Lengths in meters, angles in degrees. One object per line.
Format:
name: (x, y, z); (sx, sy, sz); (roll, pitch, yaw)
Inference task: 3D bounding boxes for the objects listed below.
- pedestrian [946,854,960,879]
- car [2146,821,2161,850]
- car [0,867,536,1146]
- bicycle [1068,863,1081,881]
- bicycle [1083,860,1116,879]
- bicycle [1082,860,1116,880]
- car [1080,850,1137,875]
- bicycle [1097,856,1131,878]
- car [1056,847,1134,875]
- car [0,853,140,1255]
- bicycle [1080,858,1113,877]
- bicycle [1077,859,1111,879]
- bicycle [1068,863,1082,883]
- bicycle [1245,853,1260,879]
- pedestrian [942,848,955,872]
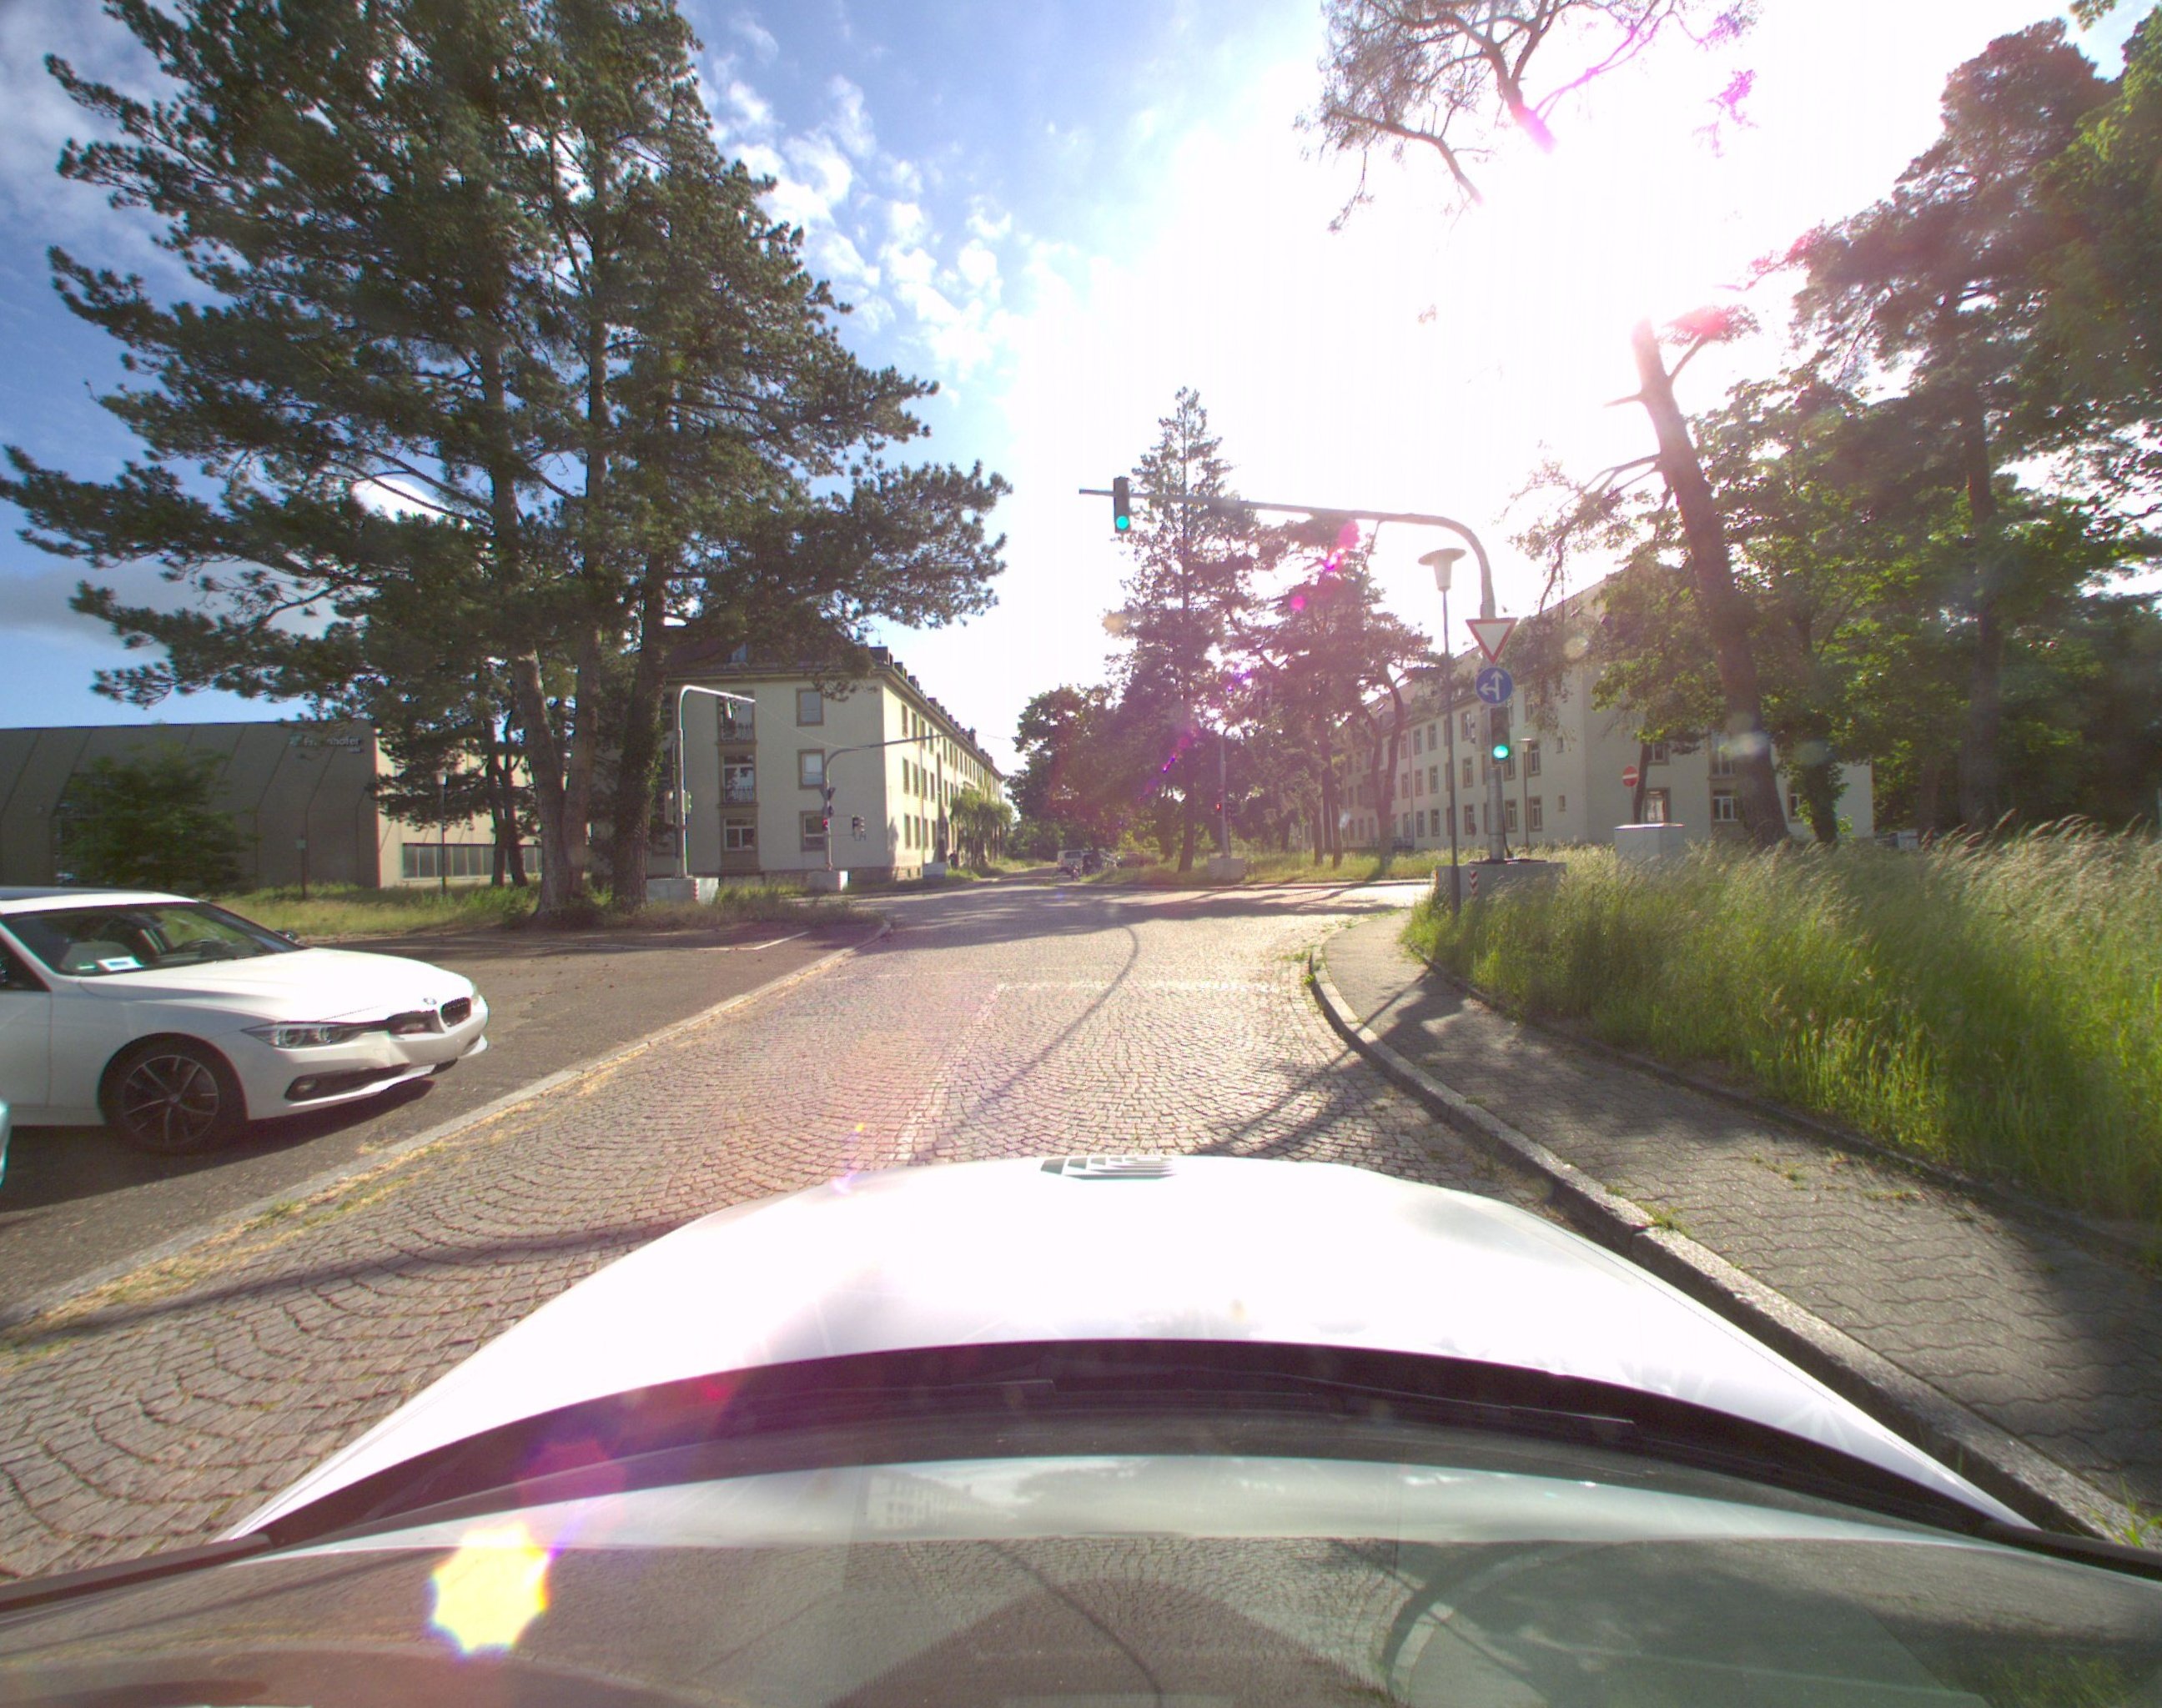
pedestrian: (-9.391, 0.897, 59.876); (0.806, 1.817, 0.556); (-2, 0, 10)
car: (57.197, -1.021, 41.369); (3.978, 1.464, 1.845); (-2, 0, -4)
car: (-6.468, 0.857, 5.316); (4.530, 1.467, 1.751); (1, 0, -3)
bicycle: (-0.373, 1.005, 45.605); (0.693, 0.971, 1.859); (-1, 0, -2)
bicycle: (1.052, 0.876, 47.159); (1.850, 1.031, 0.749); (-2, 0, -3)
bicycle: (1.043, 0.922, 47.956); (1.936, 1.129, 0.749); (-2, 0, -3)
car: (2.032, 0.622, 60.938); (3.984, 1.684, 1.842); (-2, 0, -8)
bicycle: (1.963, 0.784, 48.666); (1.936, 1.235, 0.485); (-2, 0, -3)
car: (1.101, 0.540, 65.210); (5.925, 2.013, 2.469); (-2, 0, -7)
car: (-6.312, 0.783, 2.771); (3.936, 1.626, 1.719); (1, 0, -5)
bicycle: (0.942, 0.840, 50.261); (1.938, 1.129, 0.646); (-2, 0, -6)
bicycle: (0.764, 0.887, 49.172); (1.951, 1.129, 0.642); (-2, 0, -27)
bicycle: (-0.320, 1.007, 43.667); (0.693, 0.971, 1.859); (-1, 0, -2)
bicycle: (7.380, 0.530, 35.080); (0.464, 1.080, 1.175); (-2, -1, 4)
pedestrian: (-9.925, 0.449, 61.019); (0.762, 1.817, 0.684); (-2, 0, 11)
